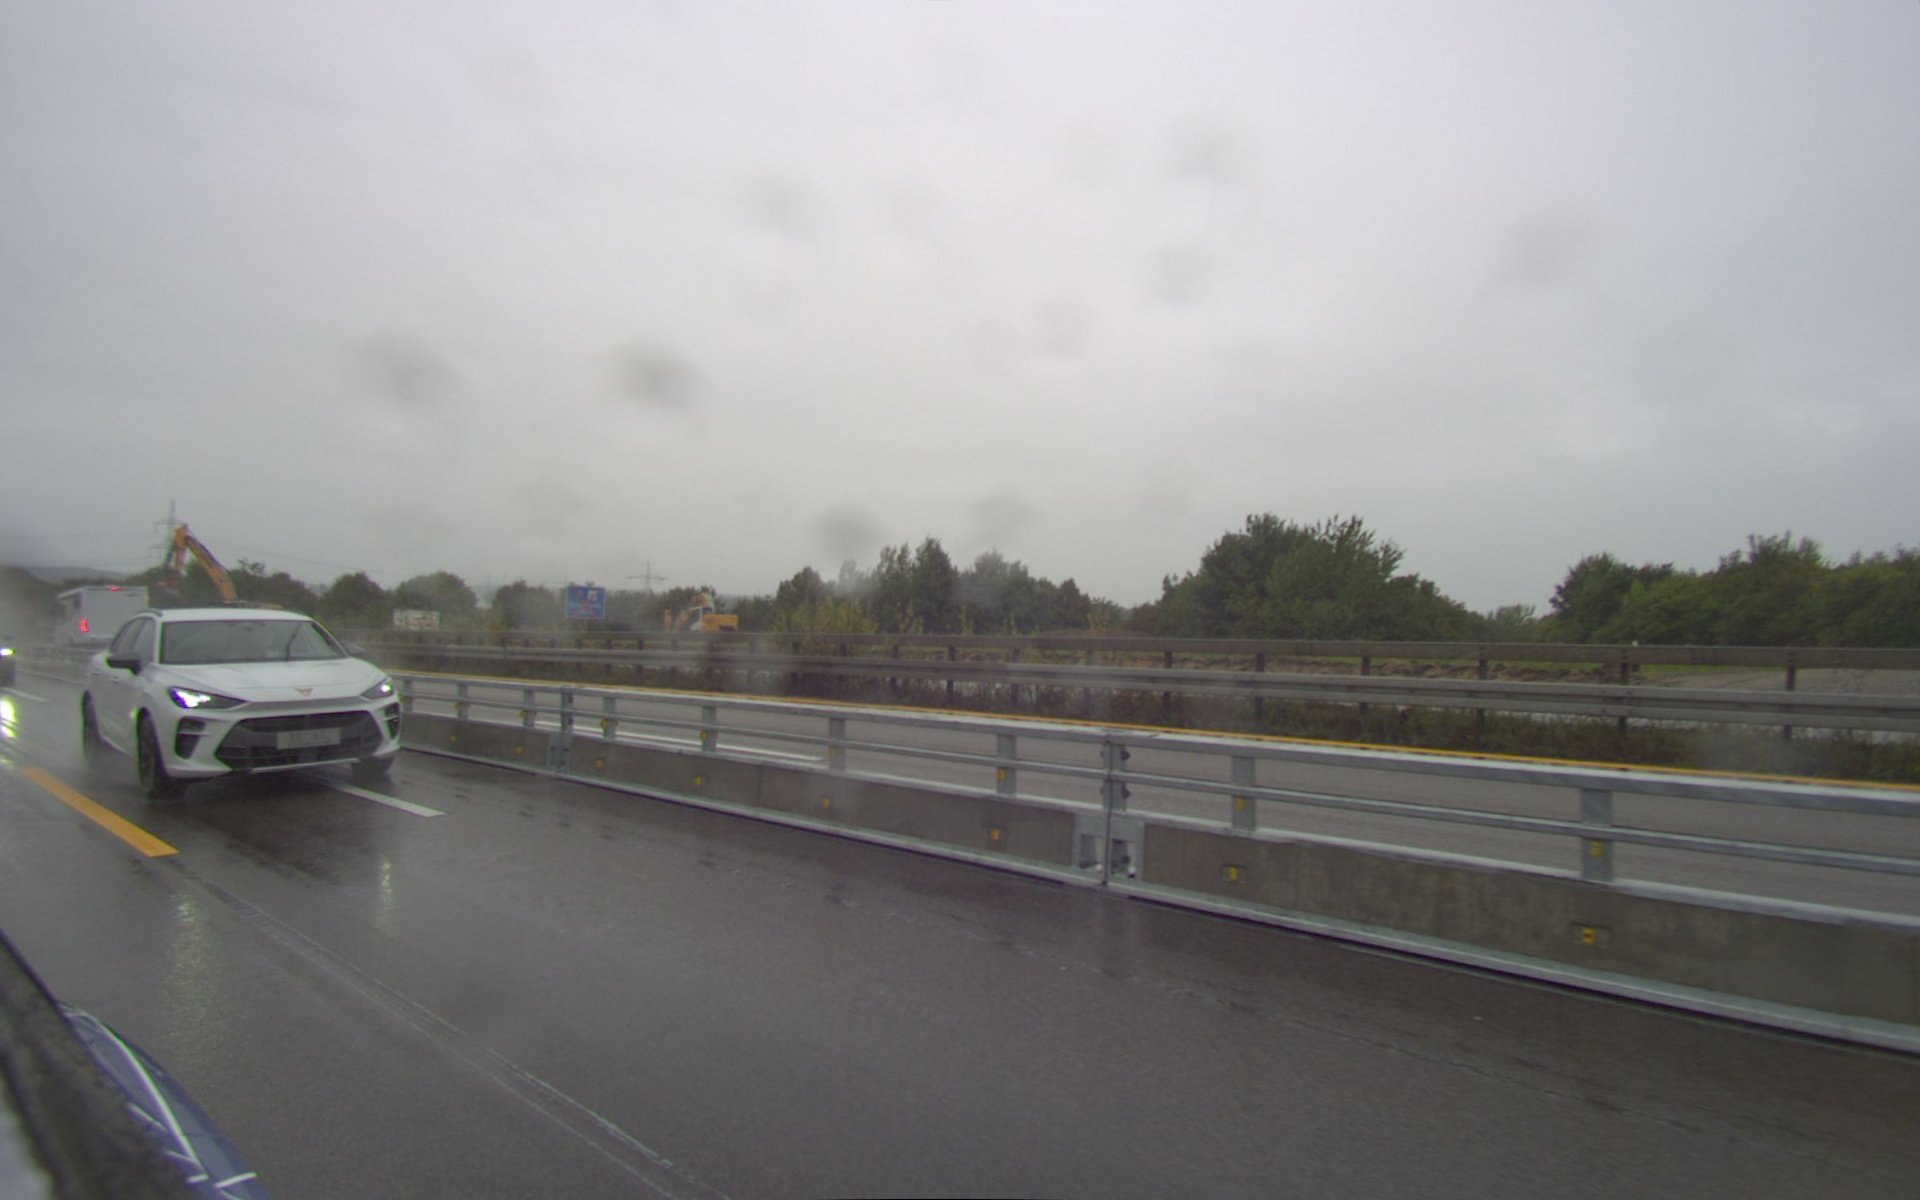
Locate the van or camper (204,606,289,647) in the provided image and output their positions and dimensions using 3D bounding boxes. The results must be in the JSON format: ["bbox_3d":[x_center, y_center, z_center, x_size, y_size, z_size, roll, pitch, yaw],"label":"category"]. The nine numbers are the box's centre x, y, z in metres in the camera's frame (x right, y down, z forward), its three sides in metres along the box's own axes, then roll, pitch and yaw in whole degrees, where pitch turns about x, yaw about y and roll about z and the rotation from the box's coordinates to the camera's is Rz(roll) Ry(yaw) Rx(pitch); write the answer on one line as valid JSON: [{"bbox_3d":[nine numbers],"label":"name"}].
[{"bbox_3d":[-61.827,2.236,87.746,3.373,3.370,5.354,-1,0,38],"label":"van or camper"}]

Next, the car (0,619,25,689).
[{"bbox_3d":[-24.702,1.309,24.925,5.195,1.640,2.042,-2,-2,43],"label":"car"}]

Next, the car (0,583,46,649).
[{"bbox_3d":[-58.160,1.014,61.105,9.394,3.768,3.263,-1,0,41],"label":"car"}]

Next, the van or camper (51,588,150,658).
[{"bbox_3d":[-38.613,1.008,45.407,6.218,2.940,2.459,-1,0,41],"label":"van or camper"}]

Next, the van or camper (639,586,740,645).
[{"bbox_3d":[-21.208,1.210,79.107,8.501,4.356,3.332,-1,0,41],"label":"van or camper"}]

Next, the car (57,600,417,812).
[{"bbox_3d":[-7.254,0.847,9.903,5.006,1.562,1.906,-2,-2,43],"label":"car"}]
